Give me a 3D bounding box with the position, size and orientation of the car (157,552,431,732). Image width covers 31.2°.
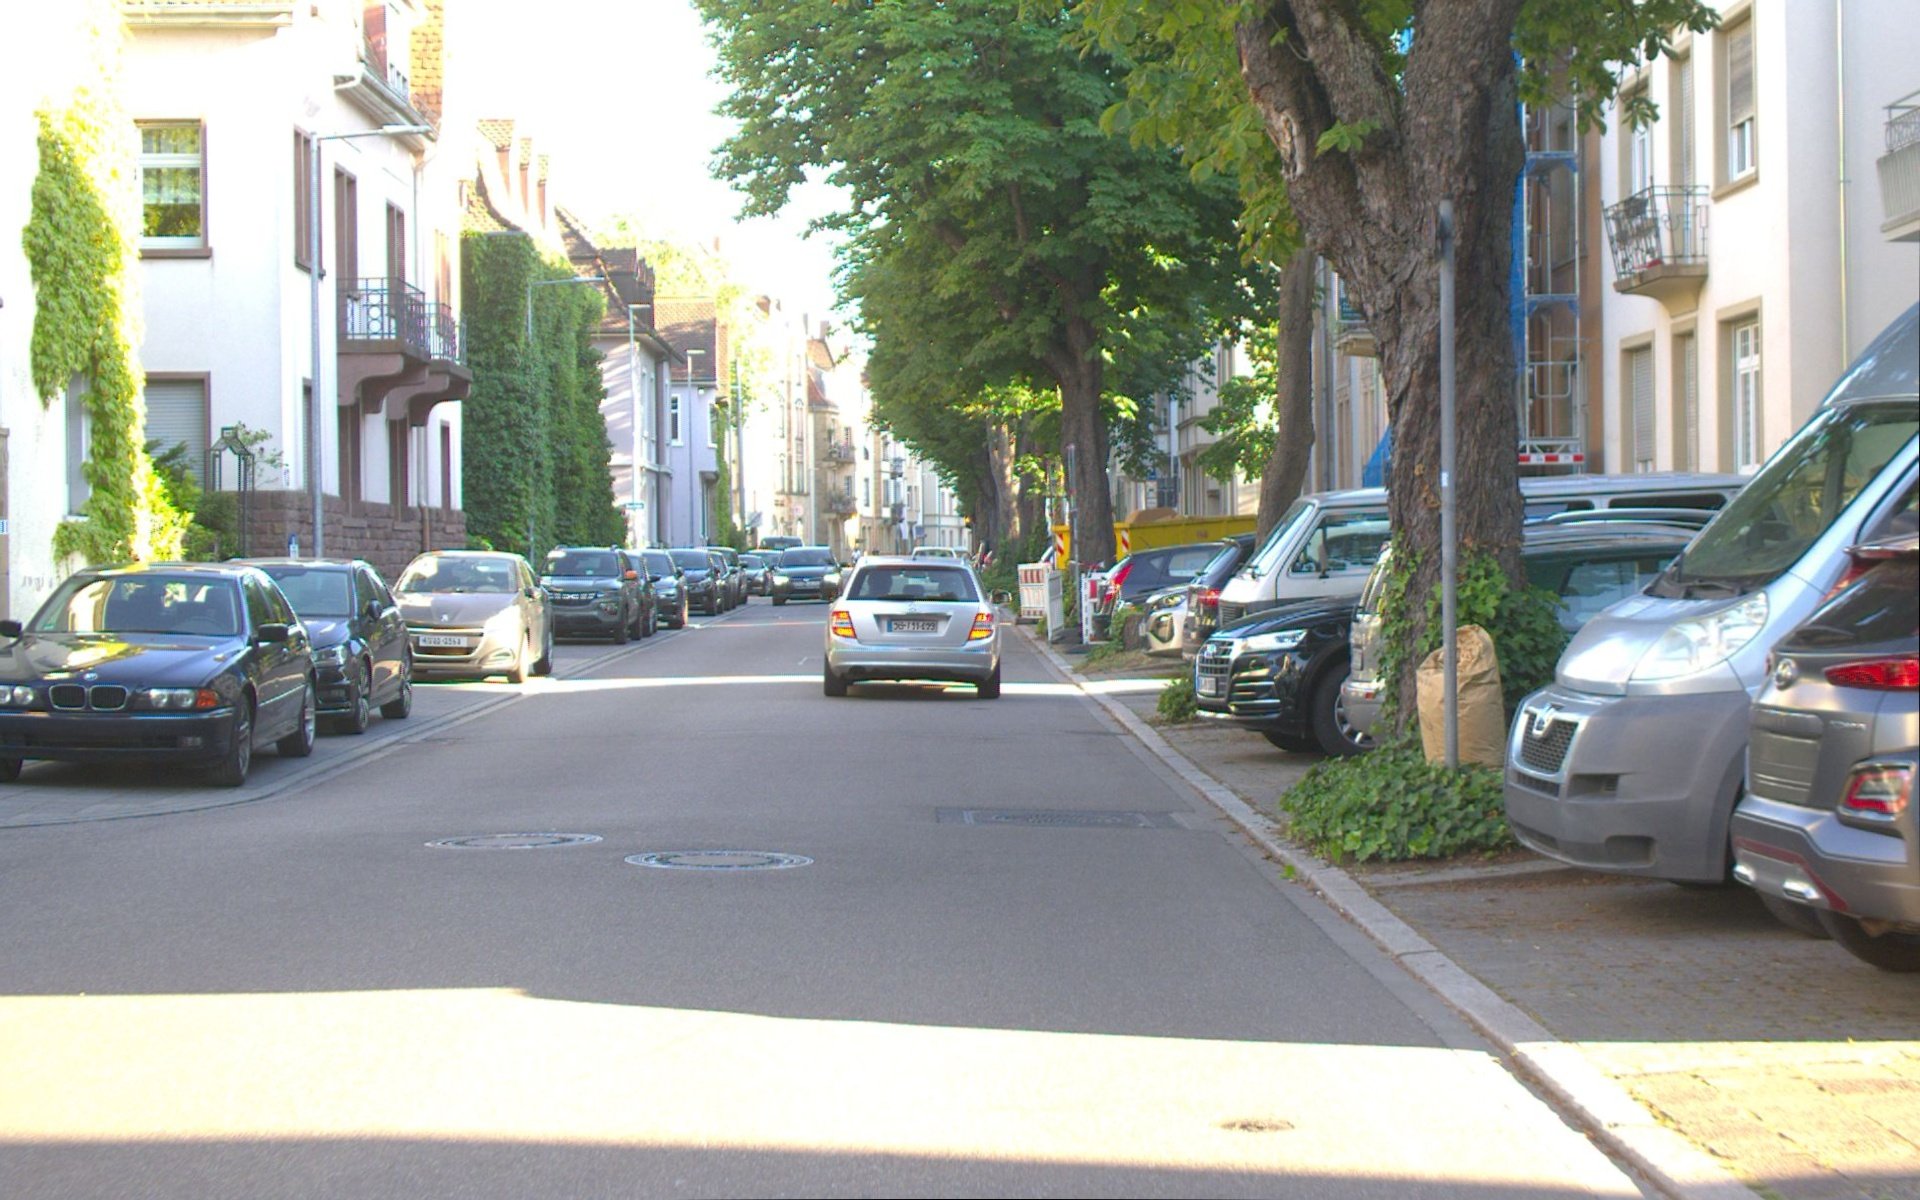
[{"bbox_3d":[-5.709,0.312,29.902,1.653,1.410,4.168,1,1,-1],"label":"car"}]

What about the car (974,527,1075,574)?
[{"bbox_3d":[2.769,-2.148,148.246,4.219,1.890,1.906,-2,1,-2],"label":"car"}]

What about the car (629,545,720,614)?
[{"bbox_3d":[-6.217,-0.469,75.229,1.649,1.416,4.099,1,1,0],"label":"car"}]

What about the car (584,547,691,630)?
[{"bbox_3d":[-5.971,-0.244,64.067,1.792,1.456,4.778,1,1,-3],"label":"car"}]

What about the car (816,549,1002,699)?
[{"bbox_3d":[-0.491,0.219,35.154,1.784,1.432,3.851,1,0,0],"label":"car"}]

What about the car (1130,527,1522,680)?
[{"bbox_3d":[4.084,0.024,38.834,4.155,1.534,1.851,-2,1,0],"label":"car"}]

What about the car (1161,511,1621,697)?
[{"bbox_3d":[4.268,0.018,34.482,4.331,1.677,1.706,-2,1,-1],"label":"car"}]

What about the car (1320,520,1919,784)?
[{"bbox_3d":[4.238,0.303,21.604,3.720,1.549,1.639,-1,0,-2],"label":"car"}]

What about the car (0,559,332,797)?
[{"bbox_3d":[-5.607,0.470,24.172,1.709,1.465,4.634,1,1,-2],"label":"car"}]

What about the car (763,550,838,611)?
[{"bbox_3d":[-4.040,-0.515,87.697,1.772,1.443,4.000,-1,1,-1],"label":"car"}]

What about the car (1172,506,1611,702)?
[{"bbox_3d":[4.022,0.018,32.514,3.949,1.677,1.705,-2,1,3],"label":"car"}]

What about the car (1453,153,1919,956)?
[{"bbox_3d":[4.696,-0.232,13.597,5.094,2.892,2.076,-1,1,-2],"label":"car"}]

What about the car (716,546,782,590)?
[{"bbox_3d":[-6.446,-0.978,105.421,1.653,1.319,4.045,1,1,2],"label":"car"}]

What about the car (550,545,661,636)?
[{"bbox_3d":[-5.924,-0.190,57.764,1.653,1.442,3.845,1,1,-3],"label":"car"}]

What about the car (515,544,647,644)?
[{"bbox_3d":[-5.883,-0.125,53.705,1.653,1.480,3.764,1,1,0],"label":"car"}]

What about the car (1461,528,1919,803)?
[{"bbox_3d":[4.800,0.340,19.080,3.720,1.426,1.759,-1,0,-2],"label":"car"}]

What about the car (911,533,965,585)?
[{"bbox_3d":[-0.650,-1.271,105.941,1.623,1.564,3.680,0,1,0],"label":"car"}]

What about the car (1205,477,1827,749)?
[{"bbox_3d":[4.241,0.081,26.699,4.469,2.007,1.896,0,1,-2],"label":"car"}]

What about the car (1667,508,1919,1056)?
[{"bbox_3d":[4.545,0.438,10.852,4.188,1.563,1.759,-2,1,-2],"label":"car"}]

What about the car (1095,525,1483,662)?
[{"bbox_3d":[4.147,-0.094,43.858,4.718,1.530,1.851,-2,1,0],"label":"car"}]

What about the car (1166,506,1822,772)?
[{"bbox_3d":[3.672,0.245,24.007,4.174,1.717,1.766,-1,0,-8],"label":"car"}]

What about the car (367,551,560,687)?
[{"bbox_3d":[-5.656,0.179,39.535,1.653,1.442,4.005,1,1,0],"label":"car"}]

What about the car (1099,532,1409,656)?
[{"bbox_3d":[3.909,-0.093,46.209,3.987,1.487,1.851,-2,1,1],"label":"car"}]
